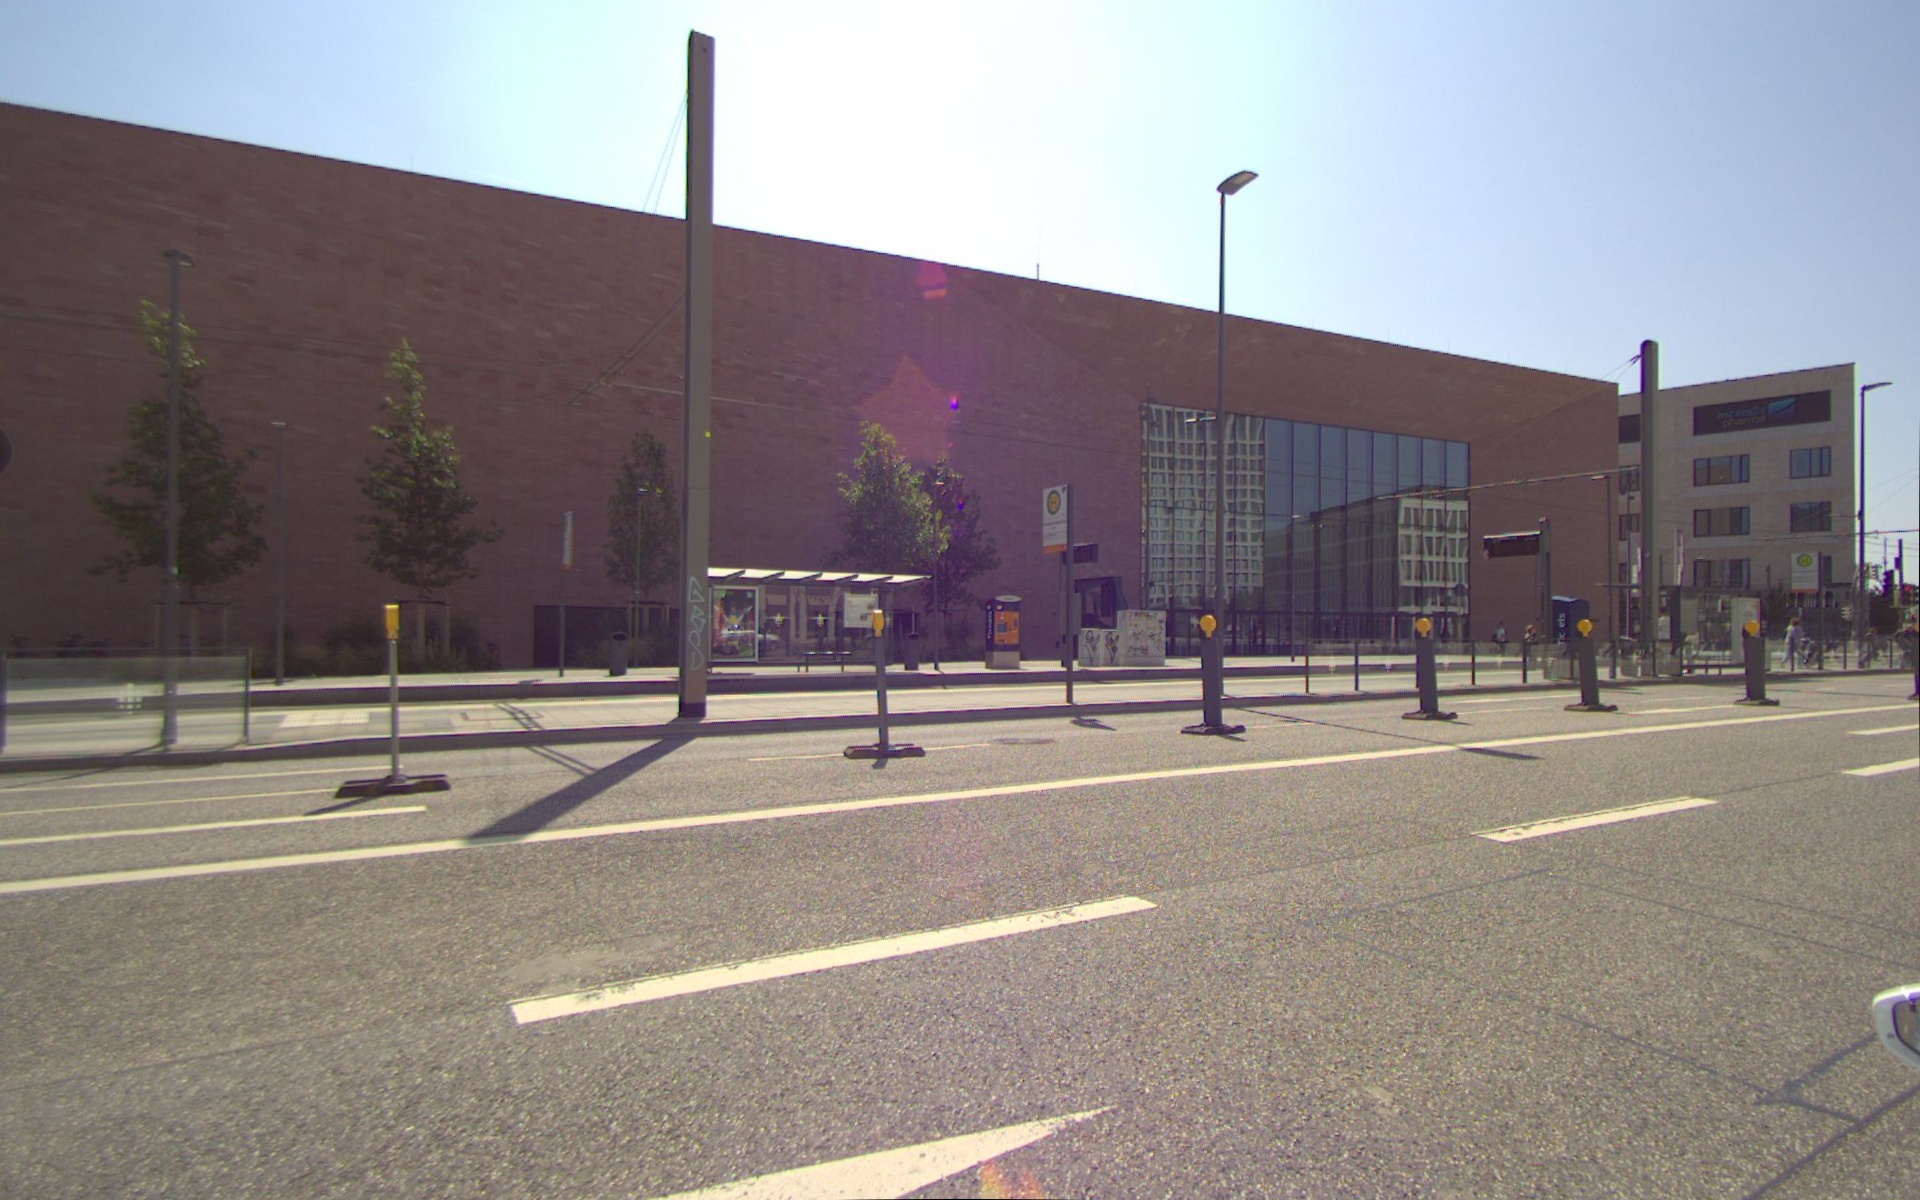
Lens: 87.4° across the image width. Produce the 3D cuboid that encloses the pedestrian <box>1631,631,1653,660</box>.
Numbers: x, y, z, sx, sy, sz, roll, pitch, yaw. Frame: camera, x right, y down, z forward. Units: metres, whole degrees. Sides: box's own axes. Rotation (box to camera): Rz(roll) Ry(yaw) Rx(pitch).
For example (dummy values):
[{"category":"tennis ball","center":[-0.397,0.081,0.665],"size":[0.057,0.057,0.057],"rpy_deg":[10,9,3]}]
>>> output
[{"category":"pedestrian","center":[38.238,2.546,56.286],"size":[0.880,1.592,0.707],"rpy_deg":[1,-2,-31]}]

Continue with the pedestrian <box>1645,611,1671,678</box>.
[{"category":"pedestrian","center":[19.431,1.229,27.960],"size":[0.543,1.844,0.598],"rpy_deg":[1,0,39]}]

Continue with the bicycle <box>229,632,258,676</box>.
[{"category":"bicycle","center":[-21.257,1.580,29.799],"size":[0.535,1.228,2.034],"rpy_deg":[1,-2,-40]}]

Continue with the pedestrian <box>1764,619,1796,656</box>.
[{"category":"pedestrian","center":[43.033,1.978,52.721],"size":[0.966,1.915,0.889],"rpy_deg":[0,-1,-10]}]

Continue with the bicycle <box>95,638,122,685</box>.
[{"category":"bicycle","center":[-23.435,1.669,27.647],"size":[0.535,1.228,2.033],"rpy_deg":[1,-1,-40]}]

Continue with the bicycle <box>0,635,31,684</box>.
[{"category":"bicycle","center":[-25.008,1.548,26.581],"size":[0.535,1.228,2.033],"rpy_deg":[1,-1,-40]}]

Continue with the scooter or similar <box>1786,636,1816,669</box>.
[{"category":"scooter or similar","center":[27.608,1.708,32.962],"size":[0.824,1.073,0.502],"rpy_deg":[1,-1,-31]}]

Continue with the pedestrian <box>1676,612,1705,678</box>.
[{"category":"pedestrian","center":[20.707,1.262,28.468],"size":[0.654,1.844,0.720],"rpy_deg":[1,0,37]}]

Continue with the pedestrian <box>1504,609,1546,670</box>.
[{"category":"pedestrian","center":[17.449,1.200,31.015],"size":[0.815,1.844,0.807],"rpy_deg":[1,0,-30]}]

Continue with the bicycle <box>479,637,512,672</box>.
[{"category":"bicycle","center":[-16.037,1.869,34.647],"size":[0.590,1.168,2.225],"rpy_deg":[1,-2,-37]}]

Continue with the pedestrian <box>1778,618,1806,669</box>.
[{"category":"pedestrian","center":[26.973,1.403,32.571],"size":[0.642,1.643,0.502],"rpy_deg":[1,-1,-30]}]

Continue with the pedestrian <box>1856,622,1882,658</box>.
[{"category":"pedestrian","center":[44.308,1.950,48.958],"size":[0.681,1.703,0.672],"rpy_deg":[0,-1,11]}]

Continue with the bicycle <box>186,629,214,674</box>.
[{"category":"bicycle","center":[-22.063,1.484,29.161],"size":[0.535,1.228,2.033],"rpy_deg":[1,-1,-40]}]

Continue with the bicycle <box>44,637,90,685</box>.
[{"category":"bicycle","center":[-24.139,1.623,27.166],"size":[0.740,1.228,1.870],"rpy_deg":[1,-1,-36]}]

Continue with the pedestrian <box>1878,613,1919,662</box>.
[{"category":"pedestrian","center":[37.847,1.490,40.336],"size":[1.046,1.915,1.164],"rpy_deg":[-1,-1,-29]}]

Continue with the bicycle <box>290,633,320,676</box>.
[{"category":"bicycle","center":[-19.832,1.628,30.396],"size":[0.535,1.228,2.033],"rpy_deg":[1,-1,-40]}]

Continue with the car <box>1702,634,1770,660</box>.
[{"category":"car","center":[60.430,3.638,78.240],"size":[1.785,1.840,3.906],"rpy_deg":[2,-2,-41]}]
